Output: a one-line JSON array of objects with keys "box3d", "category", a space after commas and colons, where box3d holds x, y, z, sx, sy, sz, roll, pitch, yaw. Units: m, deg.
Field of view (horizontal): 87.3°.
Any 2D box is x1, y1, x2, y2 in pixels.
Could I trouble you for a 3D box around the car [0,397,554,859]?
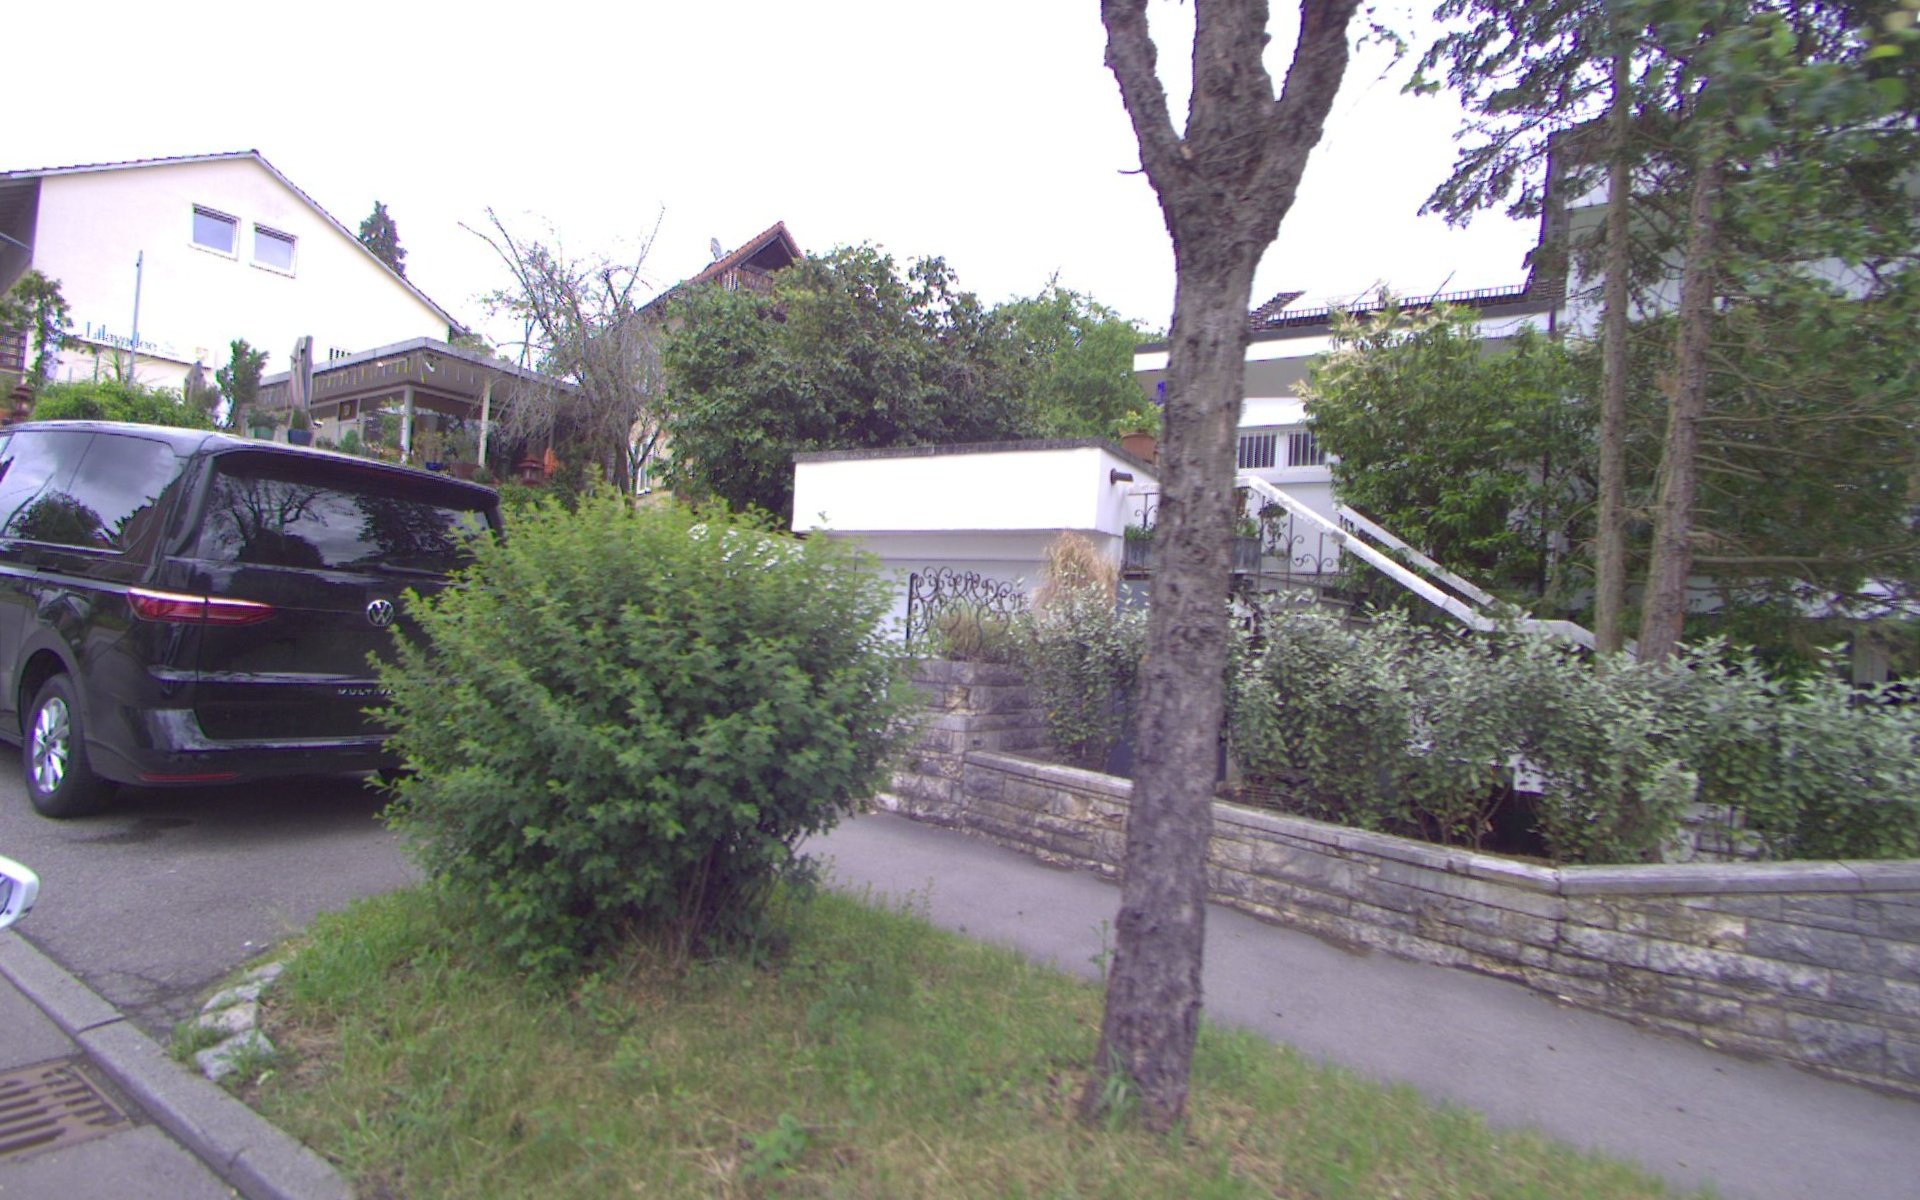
[{"box3d": [-5.054, -0.072, 6.205, 5.132, 1.860, 1.938, 7, 0, 32], "category": "car"}]
